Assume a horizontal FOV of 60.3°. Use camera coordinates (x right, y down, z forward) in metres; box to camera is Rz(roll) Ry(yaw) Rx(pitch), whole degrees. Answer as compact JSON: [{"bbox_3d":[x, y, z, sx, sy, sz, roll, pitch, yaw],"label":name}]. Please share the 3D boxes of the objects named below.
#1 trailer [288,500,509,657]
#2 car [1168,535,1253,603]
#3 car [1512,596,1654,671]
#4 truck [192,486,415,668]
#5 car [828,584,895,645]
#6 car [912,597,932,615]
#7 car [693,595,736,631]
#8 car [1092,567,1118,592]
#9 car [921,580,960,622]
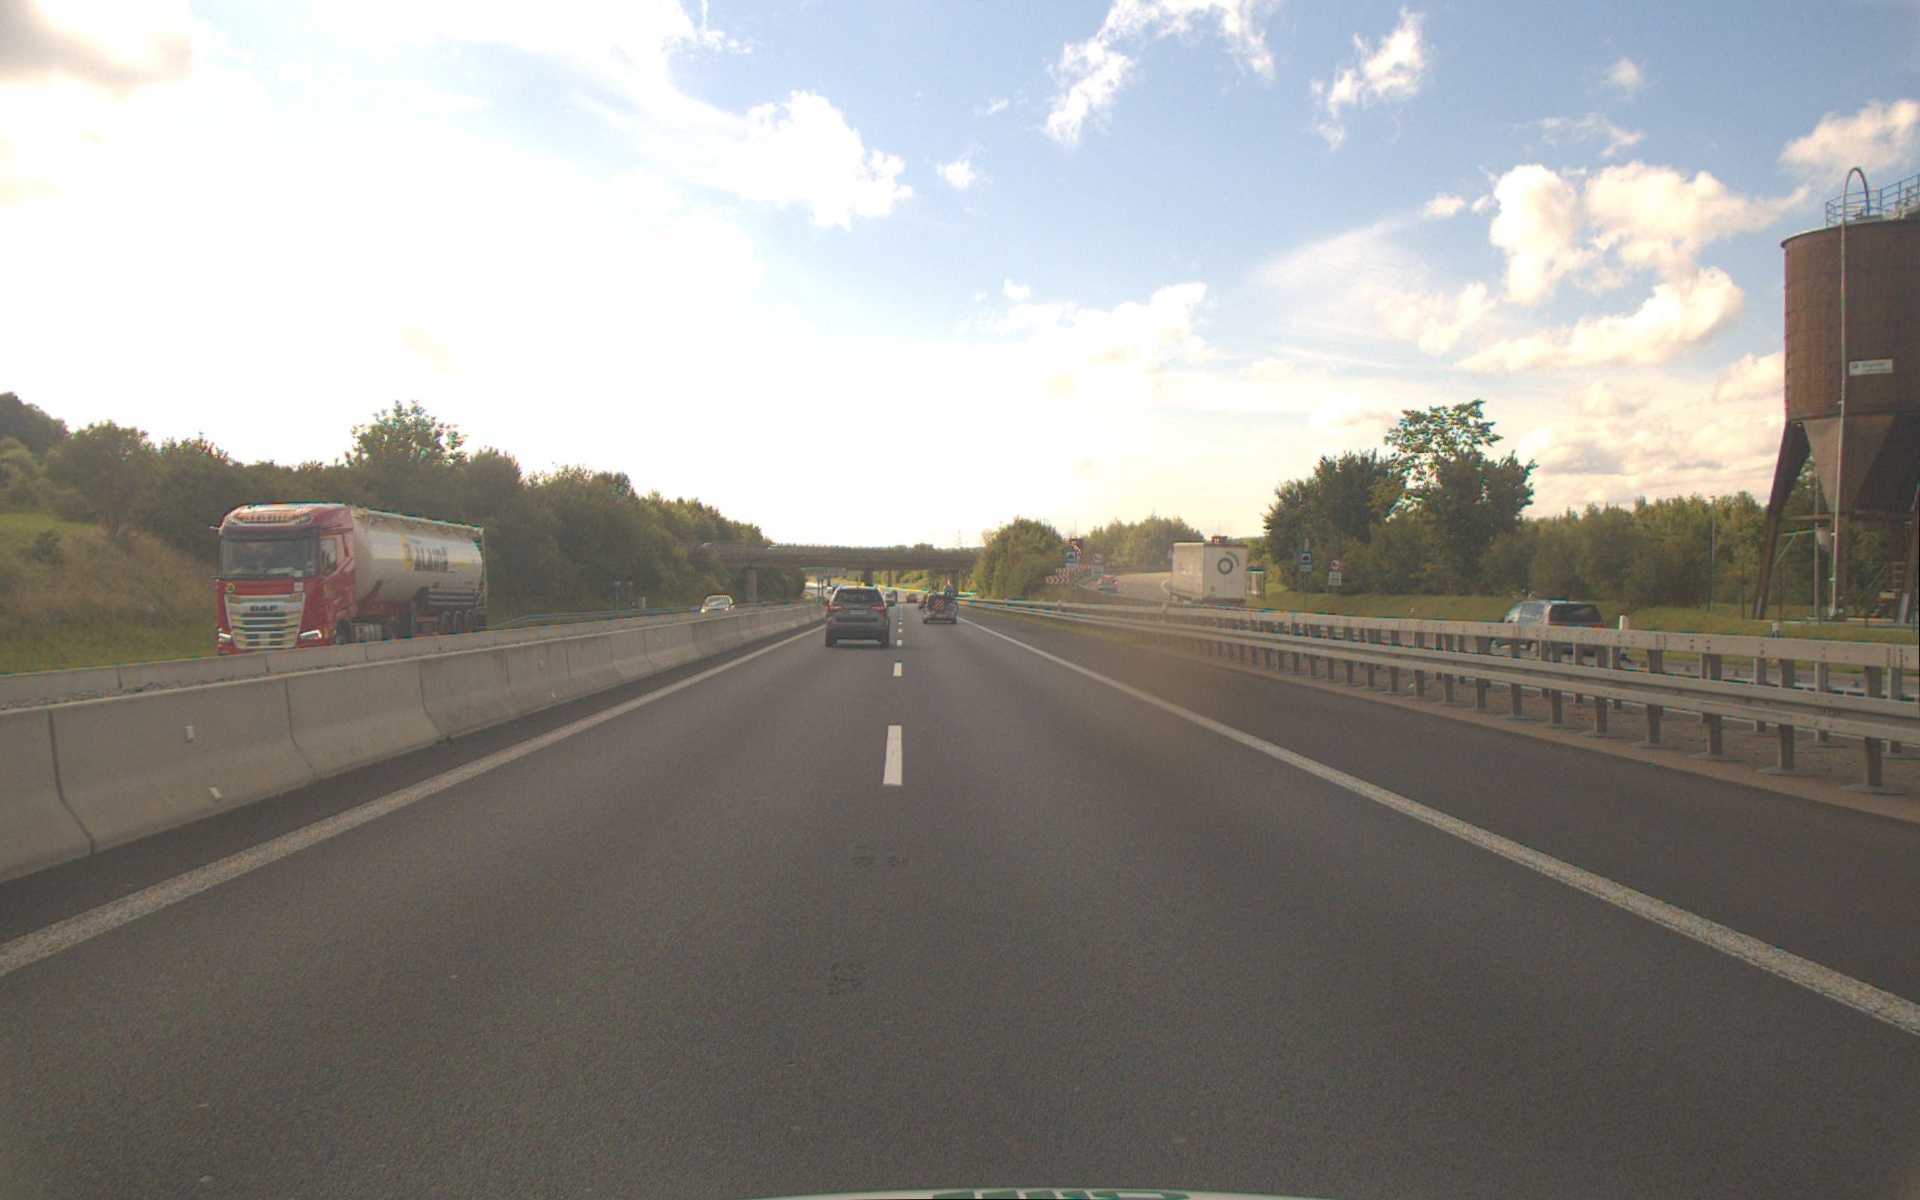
[{"bbox_3d":[-15.876,-0.552,47.856,2.658,3.955,11.158,-2,0,-1],"label":"trailer"},{"bbox_3d":[14.639,-1.759,97.285,3.504,3.741,7.546,-2,0,-2],"label":"car"},{"bbox_3d":[15.628,0.798,41.730,1.953,1.747,3.998,-2,0,-2],"label":"car"},{"bbox_3d":[-15.740,-0.516,40.262,2.682,3.993,6.899,-2,0,-1],"label":"truck"},{"bbox_3d":[-2.829,0.397,47.990,1.714,1.659,3.608,-2,0,-1],"label":"car"},{"bbox_3d":[-3.997,0.573,173.692,1.935,1.810,4.118,-2,0,-2],"label":"car"},{"bbox_3d":[-13.438,0.679,90.744,1.771,1.864,4.395,-2,0,-1],"label":"car"},{"bbox_3d":[12.233,-1.720,139.837,1.952,2.049,4.001,-2,0,2],"label":"car"},{"bbox_3d":[-1.064,0.062,87.510,1.953,2.117,3.998,-2,0,-2],"label":"car"}]
